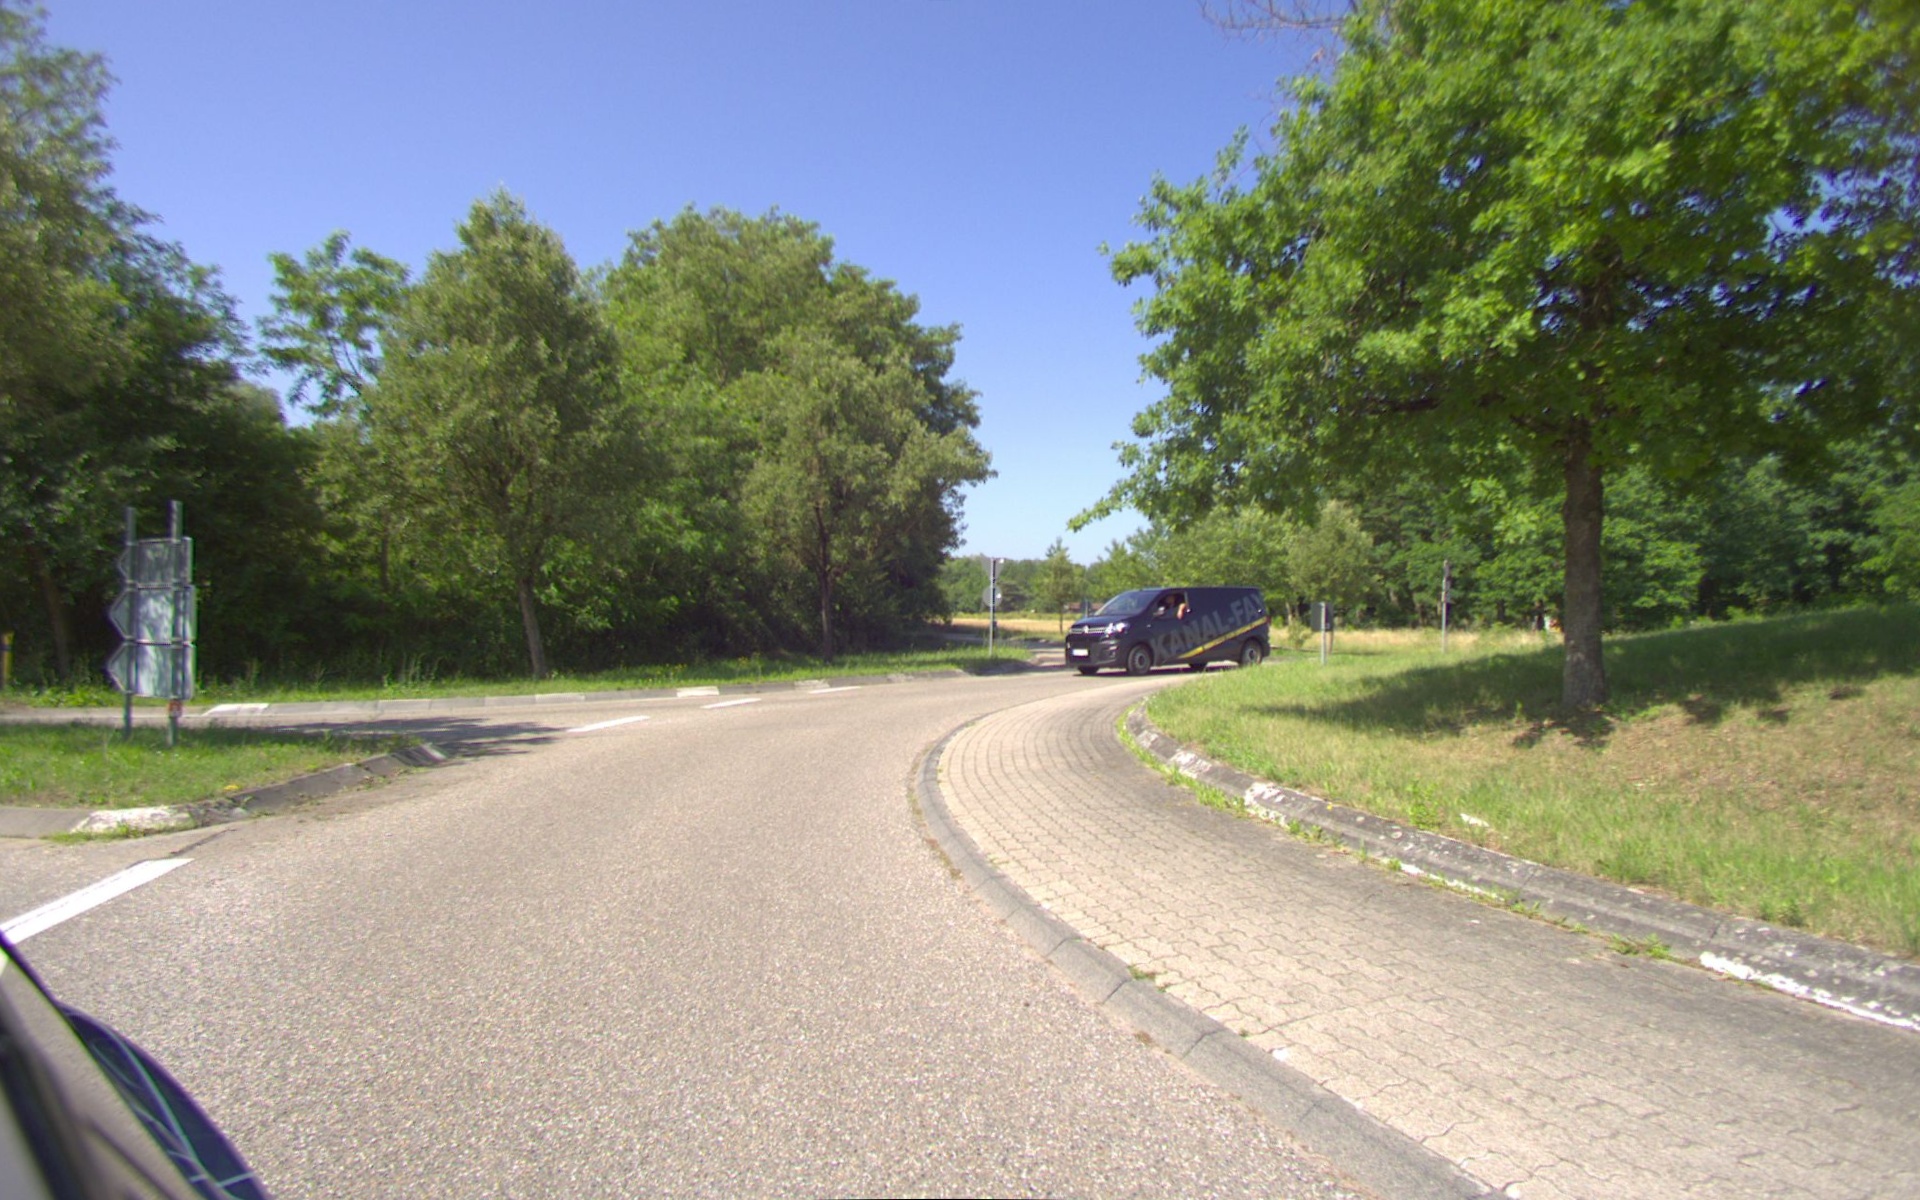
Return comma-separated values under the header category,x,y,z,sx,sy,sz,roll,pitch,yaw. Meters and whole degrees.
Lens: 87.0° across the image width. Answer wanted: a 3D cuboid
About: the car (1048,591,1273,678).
category,x,y,z,sx,sy,sz,roll,pitch,yaw
car,4.399,0.705,22.058,4.638,1.727,2.108,1,-1,-32
